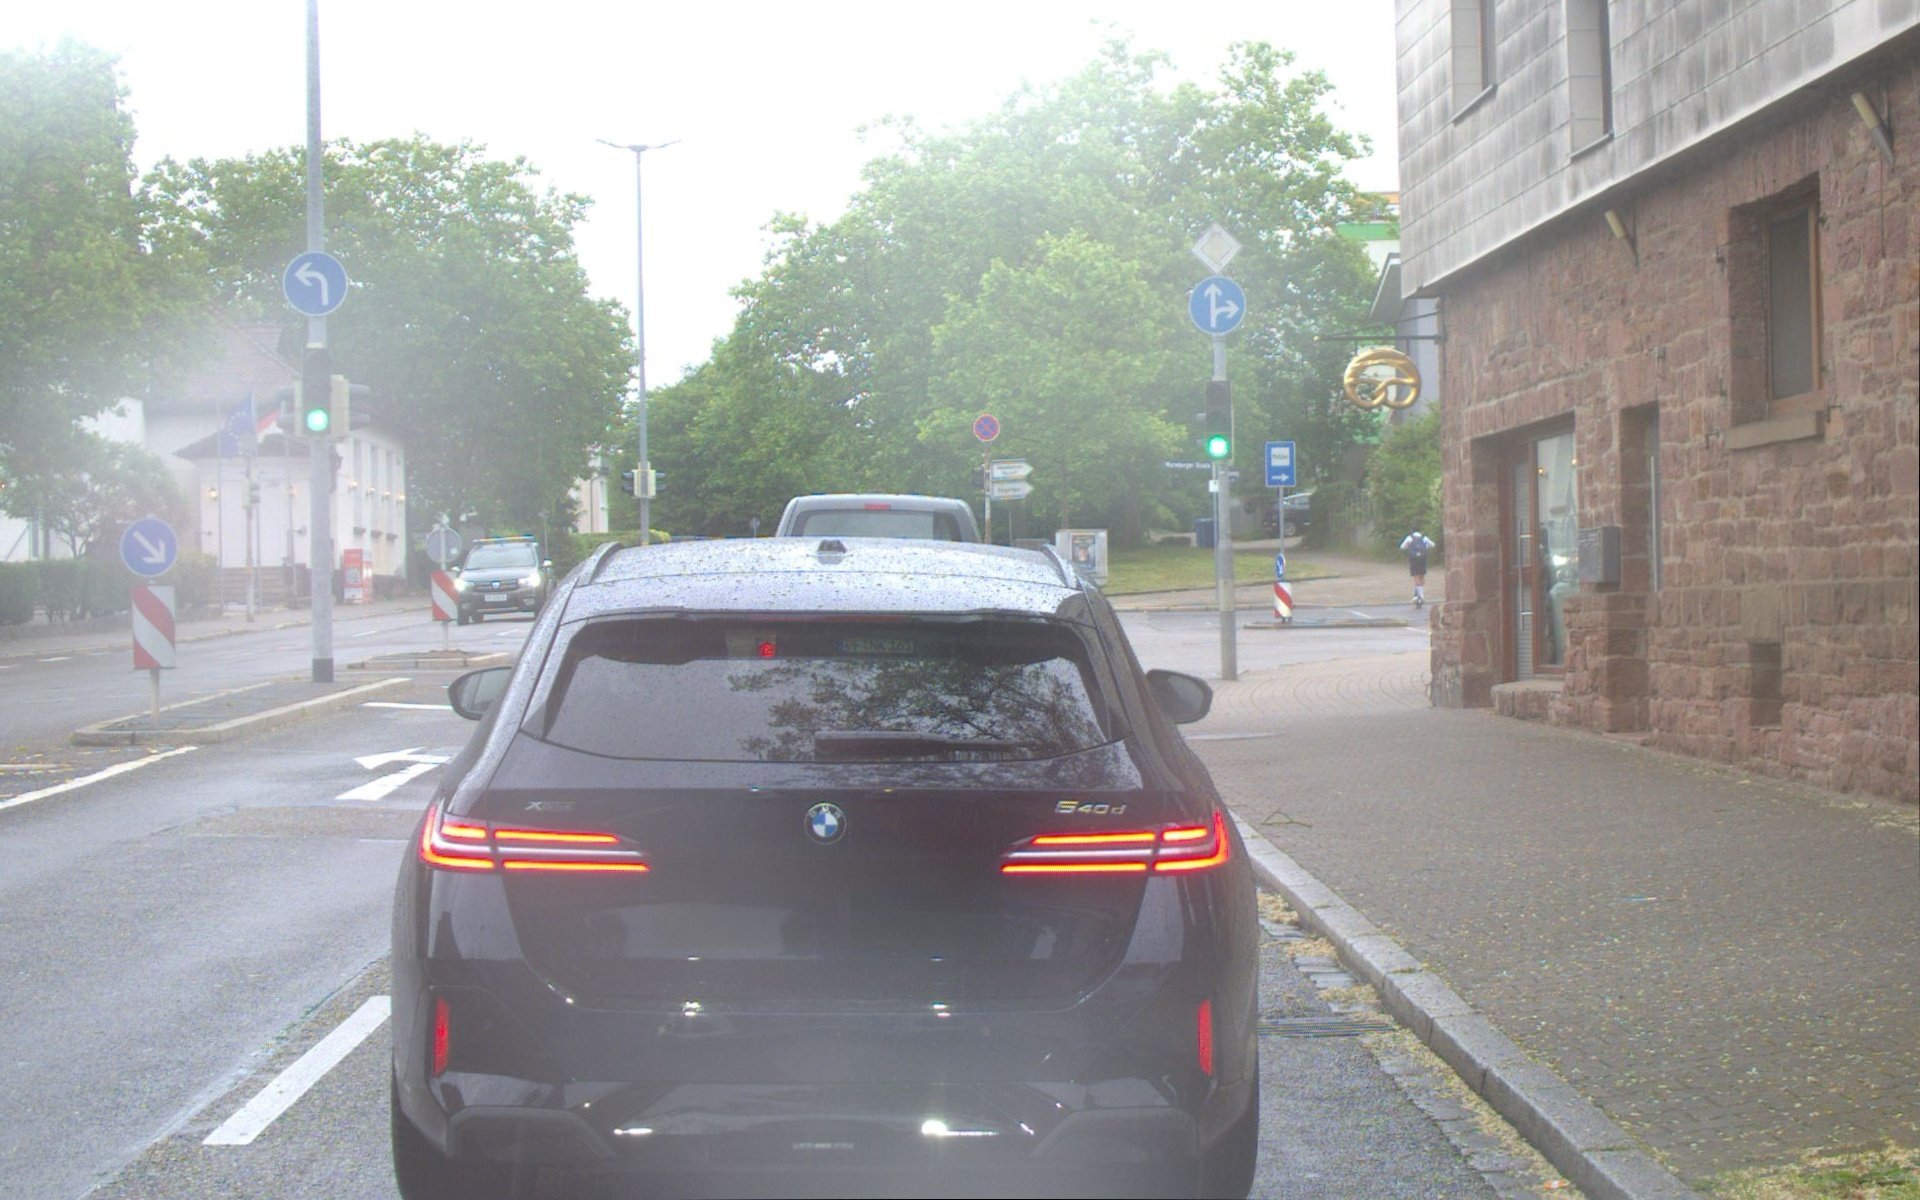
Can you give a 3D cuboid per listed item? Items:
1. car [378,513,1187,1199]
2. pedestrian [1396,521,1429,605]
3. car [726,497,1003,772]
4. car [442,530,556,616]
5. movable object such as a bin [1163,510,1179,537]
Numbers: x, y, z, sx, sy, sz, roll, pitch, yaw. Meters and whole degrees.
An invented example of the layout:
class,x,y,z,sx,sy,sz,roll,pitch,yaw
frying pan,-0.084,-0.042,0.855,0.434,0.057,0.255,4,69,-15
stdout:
class,x,y,z,sx,sy,sz,roll,pitch,yaw
car,-0.444,0.592,8.321,1.523,1.529,3.532,1,0,-4
pedestrian,8.754,-0.715,66.486,0.601,1.611,0.525,1,0,6
car,-0.749,0.213,24.685,1.812,1.802,3.757,1,0,-4
car,-9.075,-0.564,67.949,1.898,1.572,4.503,-1,2,-4
movable object such as a bin,7.068,-2.576,115.256,0.450,0.902,0.462,1,0,15
